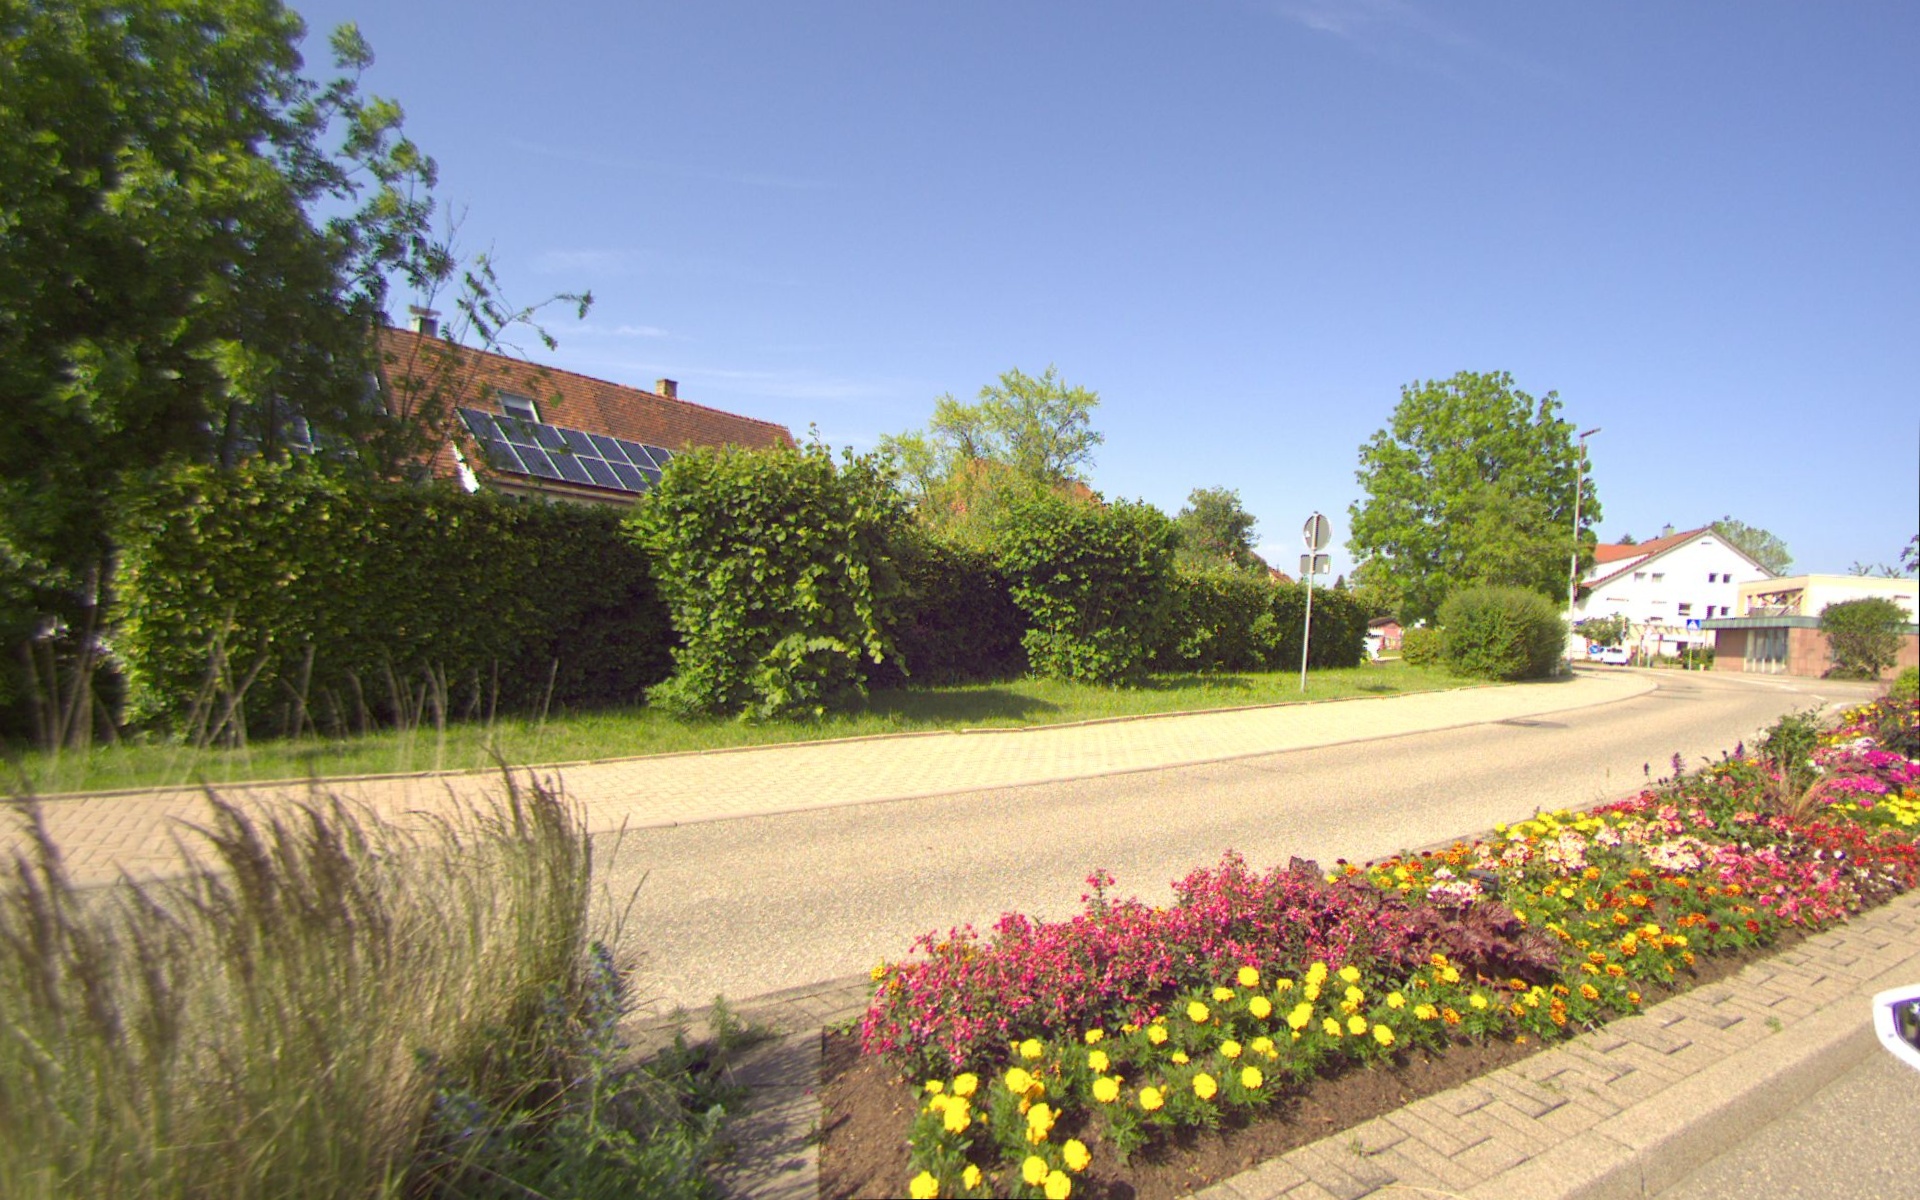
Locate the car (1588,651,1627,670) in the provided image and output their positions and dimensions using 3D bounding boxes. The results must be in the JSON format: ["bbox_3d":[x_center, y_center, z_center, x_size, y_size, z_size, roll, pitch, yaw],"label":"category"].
[{"bbox_3d":[52.008,4.822,80.767,1.731,1.442,3.635,1,-2,17],"label":"car"}]
